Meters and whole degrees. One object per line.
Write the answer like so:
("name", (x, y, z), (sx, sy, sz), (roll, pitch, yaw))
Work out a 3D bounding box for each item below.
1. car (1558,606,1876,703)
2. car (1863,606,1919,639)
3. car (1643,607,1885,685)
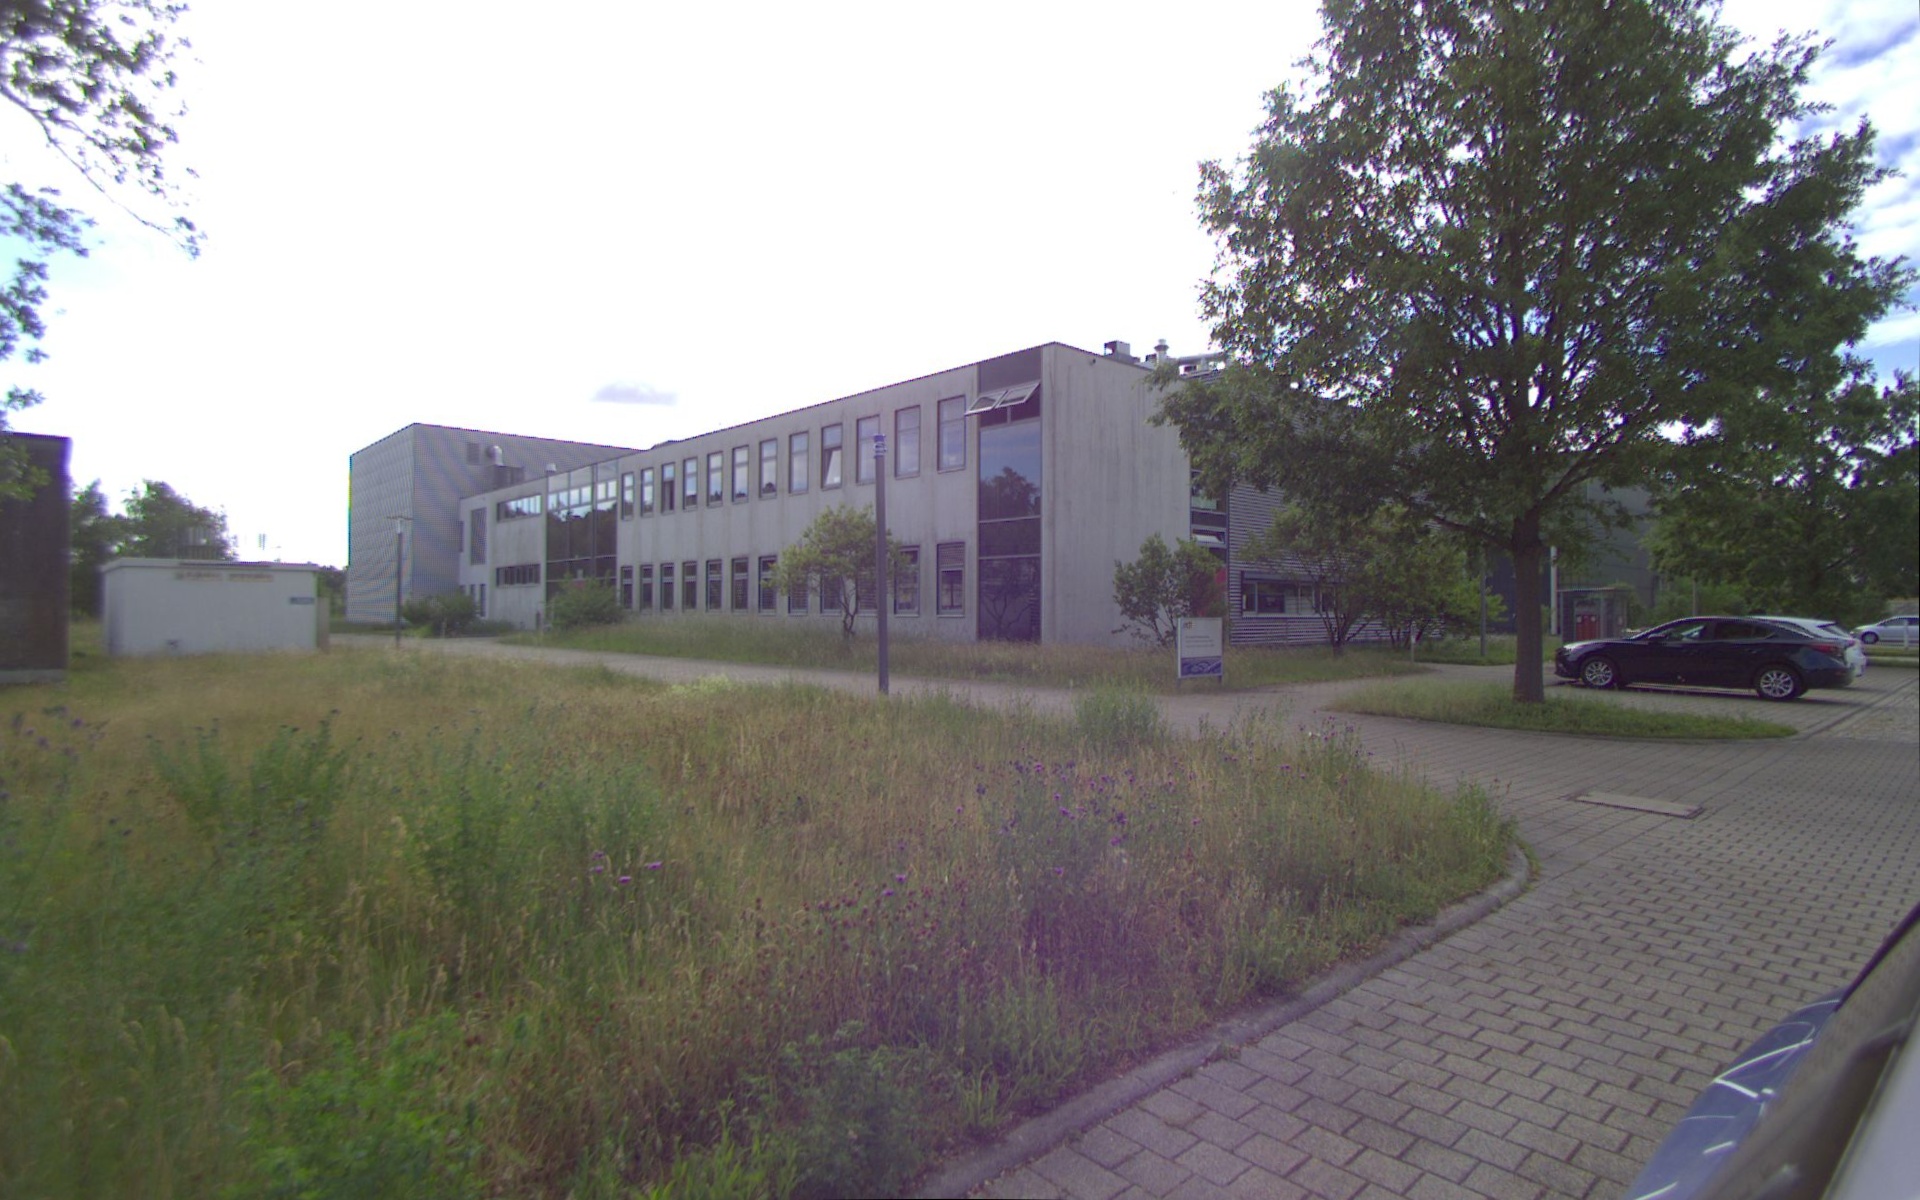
("car", (13.948, 0.908, 18.859), (1.911, 1.465, 4.469), (1, 1, -43))
("car", (50.670, 1.226, 53.627), (1.908, 1.645, 4.123), (1, 1, -45))
("car", (17.664, 0.945, 22.364), (1.851, 1.485, 3.980), (1, 0, -43))
